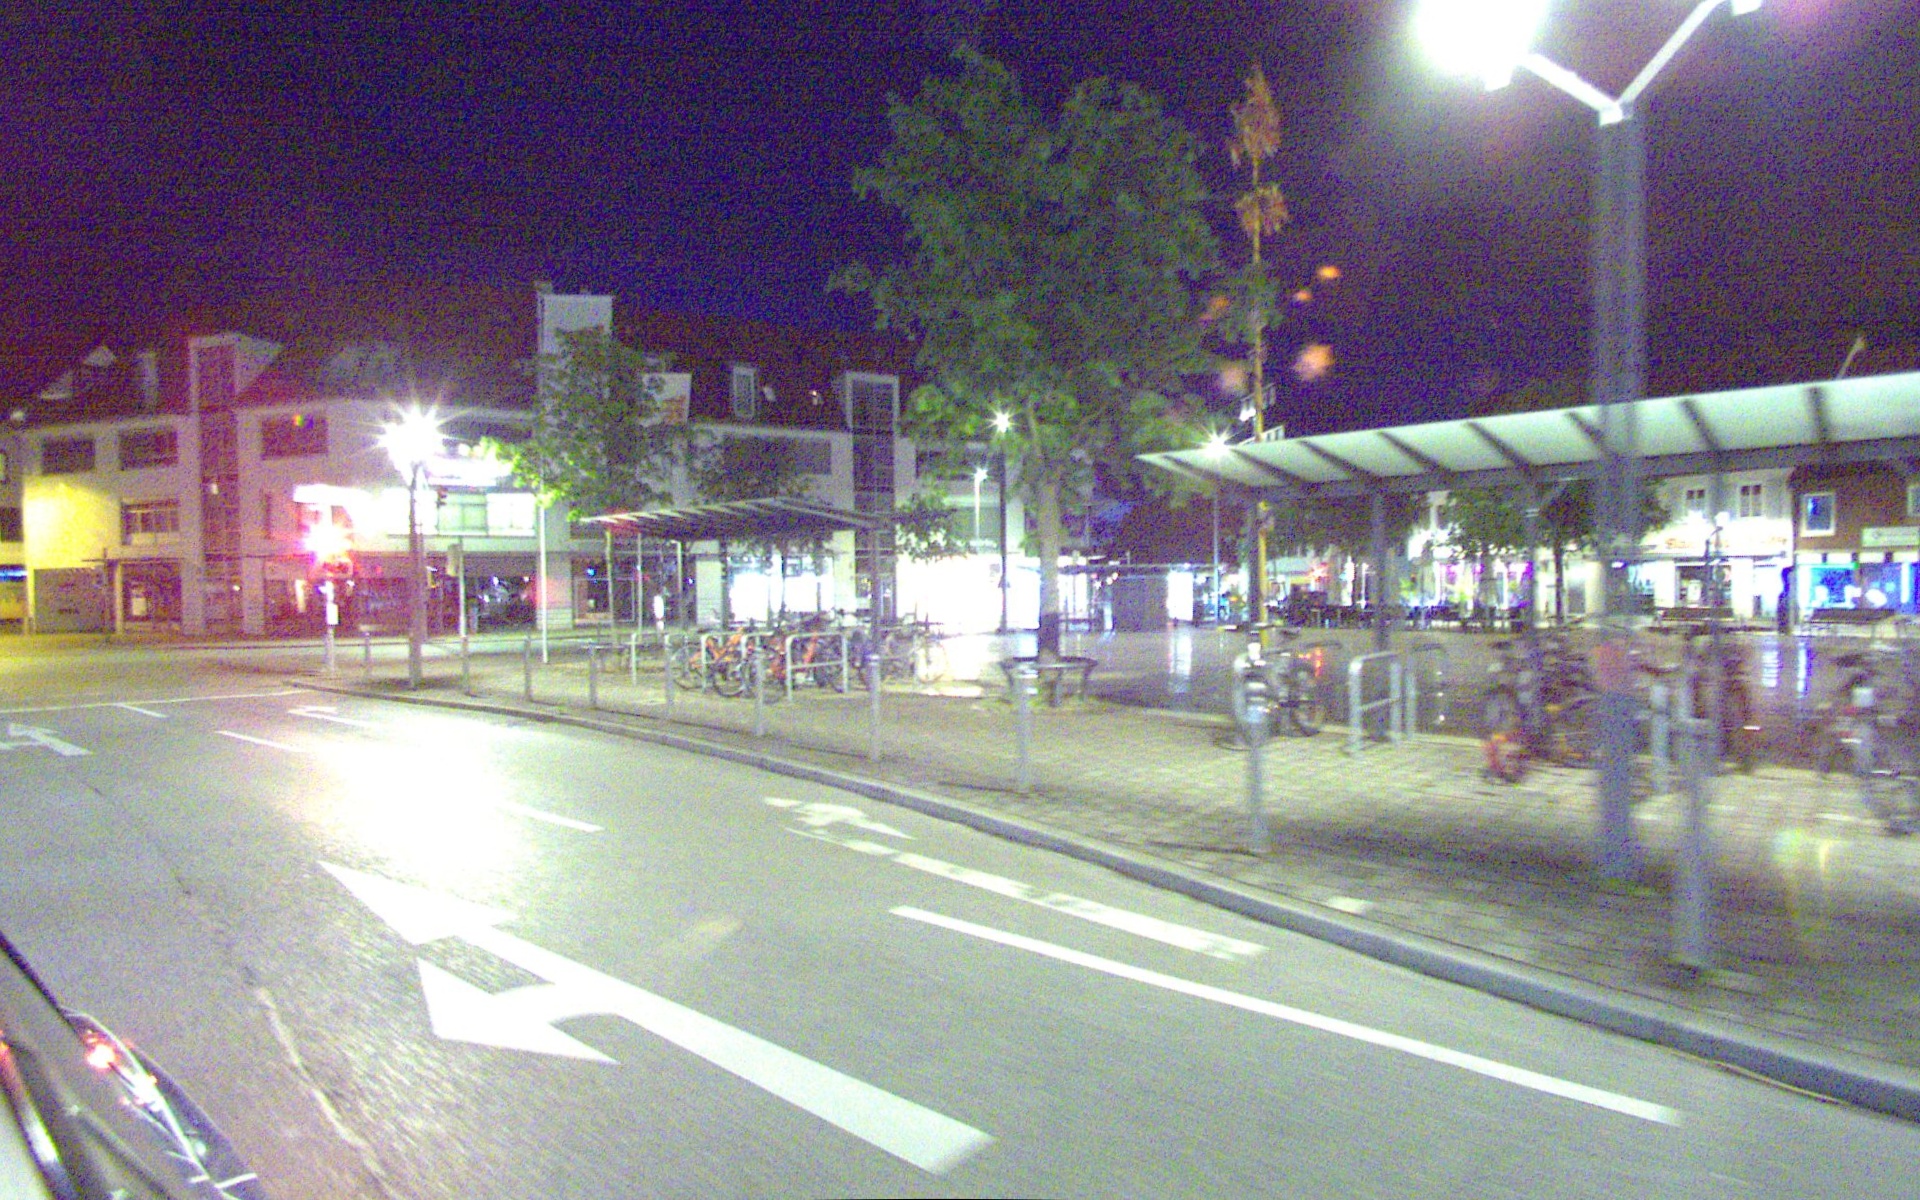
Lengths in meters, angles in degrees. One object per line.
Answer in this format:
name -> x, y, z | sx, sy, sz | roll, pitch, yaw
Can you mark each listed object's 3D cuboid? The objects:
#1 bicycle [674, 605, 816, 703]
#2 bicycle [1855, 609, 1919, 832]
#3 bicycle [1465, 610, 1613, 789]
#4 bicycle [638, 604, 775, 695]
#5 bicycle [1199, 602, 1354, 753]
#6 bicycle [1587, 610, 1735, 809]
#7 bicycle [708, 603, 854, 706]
bicycle -> -2.935, 0.702, 13.938 | 1.715, 1.166, 0.787 | -4, 3, -45
bicycle -> 5.601, 0.635, 5.790 | 0.670, 1.114, 1.599 | 0, 1, 40
bicycle -> 4.250, 0.655, 7.380 | 0.670, 1.114, 1.599 | 0, 1, 40
bicycle -> -3.770, 0.708, 15.154 | 1.813, 1.166, 0.787 | -4, 3, -45
bicycle -> 2.818, 0.613, 8.888 | 0.670, 1.173, 1.751 | -1, 0, 40
bicycle -> 4.711, 0.649, 6.760 | 0.670, 1.114, 1.600 | 0, 1, 40
bicycle -> -2.353, 0.684, 13.418 | 1.715, 1.175, 0.787 | -4, 2, -45
